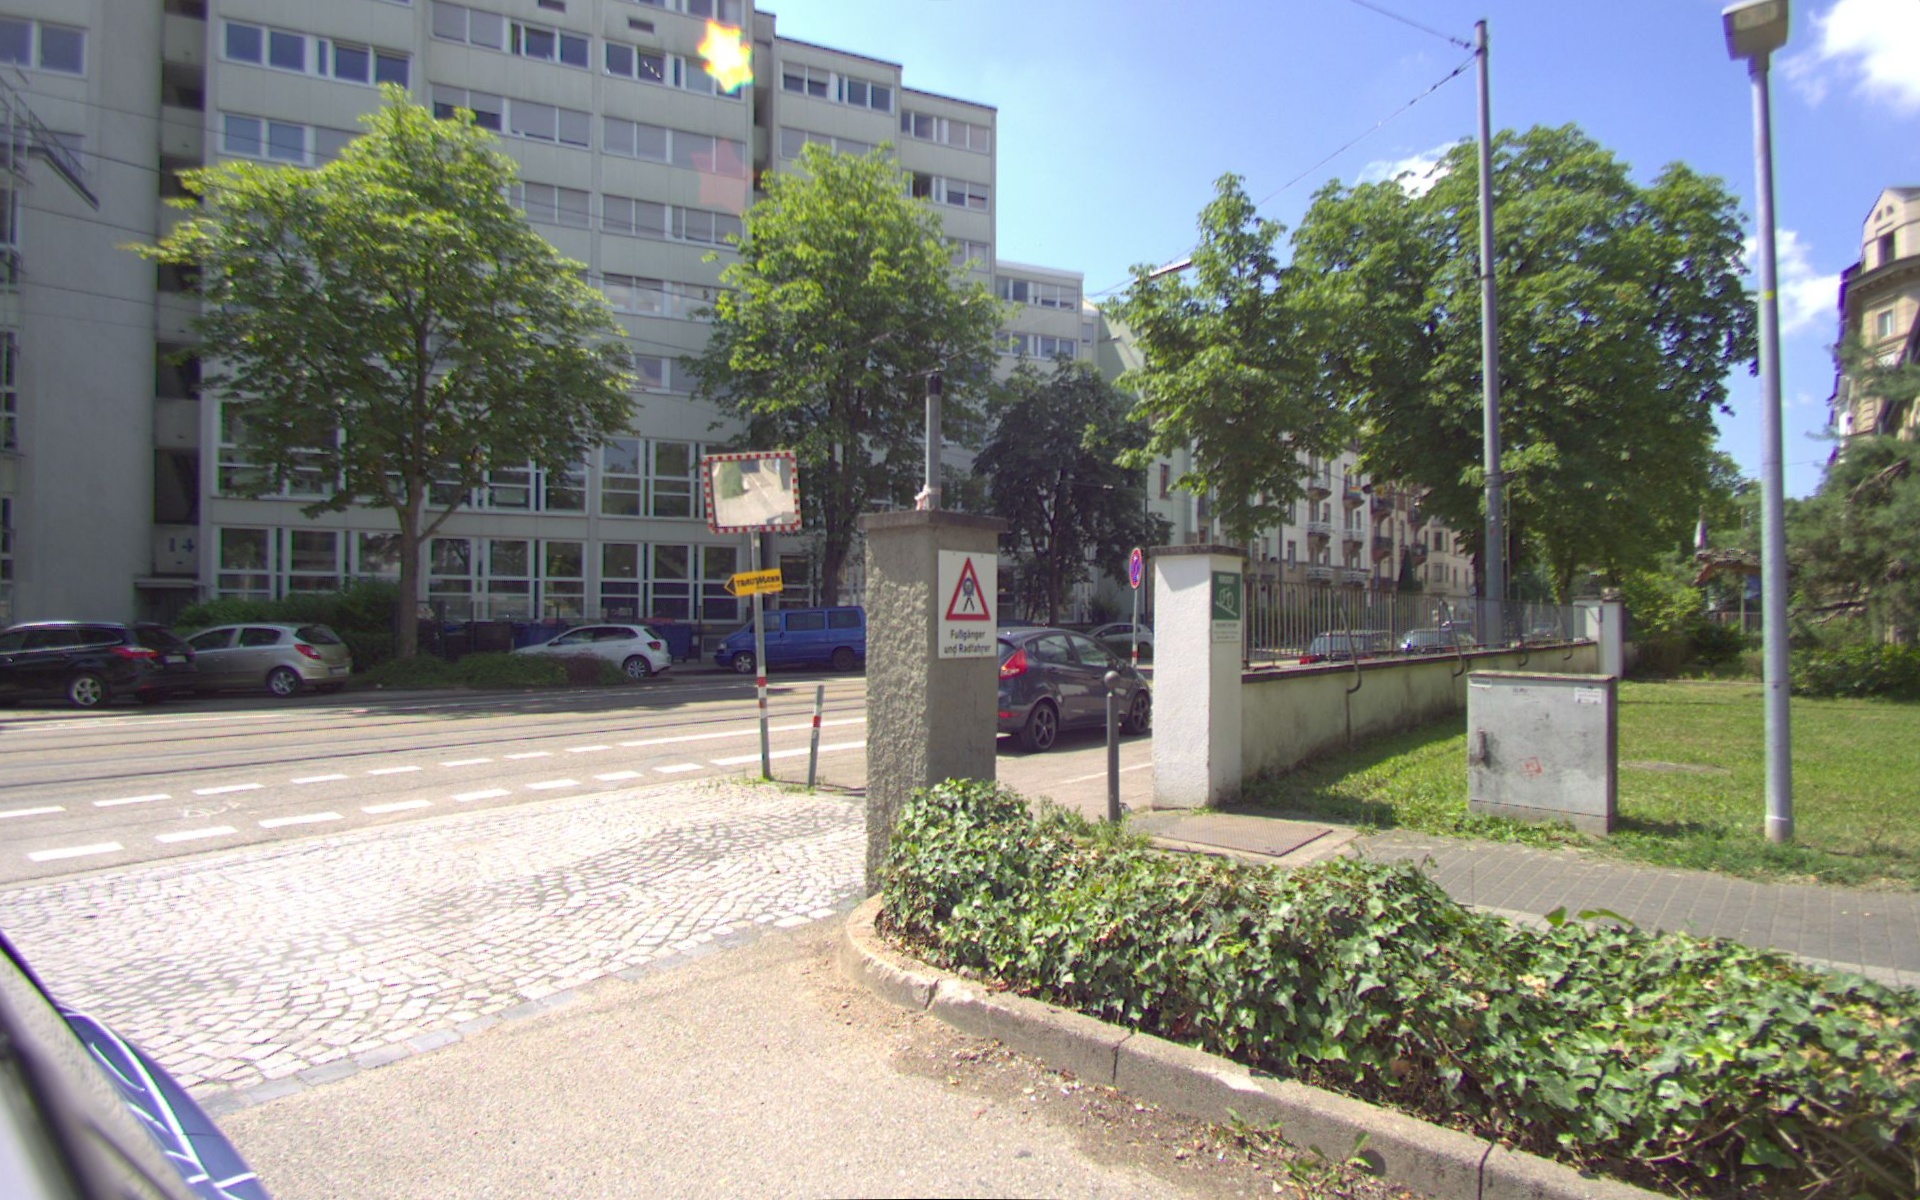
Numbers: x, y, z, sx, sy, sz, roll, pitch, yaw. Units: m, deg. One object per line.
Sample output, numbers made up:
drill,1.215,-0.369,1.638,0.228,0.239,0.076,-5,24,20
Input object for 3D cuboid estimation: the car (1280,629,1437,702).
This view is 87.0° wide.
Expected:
car,8.882,1.376,22.400,1.884,1.429,4.092,-2,-2,42

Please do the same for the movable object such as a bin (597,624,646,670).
movable object such as a bin,-10.717,1.468,32.038,1.163,1.409,1.039,1,-3,-42

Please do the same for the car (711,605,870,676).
car,-4.976,1.180,30.271,4.560,2.029,2.002,0,-2,-5

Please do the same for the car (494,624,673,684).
car,-9.325,1.319,25.327,3.919,1.424,1.717,0,-2,-6

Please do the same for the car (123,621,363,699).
car,-14.146,1.159,20.141,3.485,1.473,1.756,0,-2,-6

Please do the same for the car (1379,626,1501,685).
car,12.983,1.440,27.291,1.952,1.455,3.720,-2,-2,42

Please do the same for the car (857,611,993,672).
car,-1.164,1.436,34.996,4.569,2.029,1.998,0,-2,3

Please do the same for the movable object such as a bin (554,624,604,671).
movable object such as a bin,-11.674,1.449,31.018,1.163,1.409,1.039,1,-3,-42

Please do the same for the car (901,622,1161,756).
car,1.037,1.060,13.035,1.586,1.468,3.680,-4,-4,36

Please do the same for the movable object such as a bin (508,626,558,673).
movable object such as a bin,-12.562,1.457,29.785,0.971,1.340,1.062,-2,-3,42

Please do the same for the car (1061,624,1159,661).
car,6.679,1.884,45.223,3.938,1.397,1.753,2,0,-6

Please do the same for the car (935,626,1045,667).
car,1.142,1.712,37.598,3.951,1.497,1.667,0,-2,6

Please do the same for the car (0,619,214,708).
car,-15.916,1.083,17.847,4.132,1.481,1.756,0,-1,-6

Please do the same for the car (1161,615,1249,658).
car,12.110,1.806,49.979,3.975,2.029,1.984,-1,-2,23

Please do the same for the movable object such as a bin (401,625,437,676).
movable object such as a bin,-15.270,1.417,28.572,0.790,1.416,0.769,1,-2,-36

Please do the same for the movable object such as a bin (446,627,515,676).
movable object such as a bin,-13.518,1.431,28.558,1.126,1.340,1.432,-2,-3,42

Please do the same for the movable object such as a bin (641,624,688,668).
movable object such as a bin,-9.680,1.489,33.135,1.163,1.409,1.039,1,-3,-42

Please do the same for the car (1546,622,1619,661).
car,27.173,1.775,44.145,3.940,1.627,1.731,1,-3,-43

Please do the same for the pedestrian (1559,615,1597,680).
pedestrian,15.222,1.160,24.924,0.696,1.579,0.734,-2,-2,38
